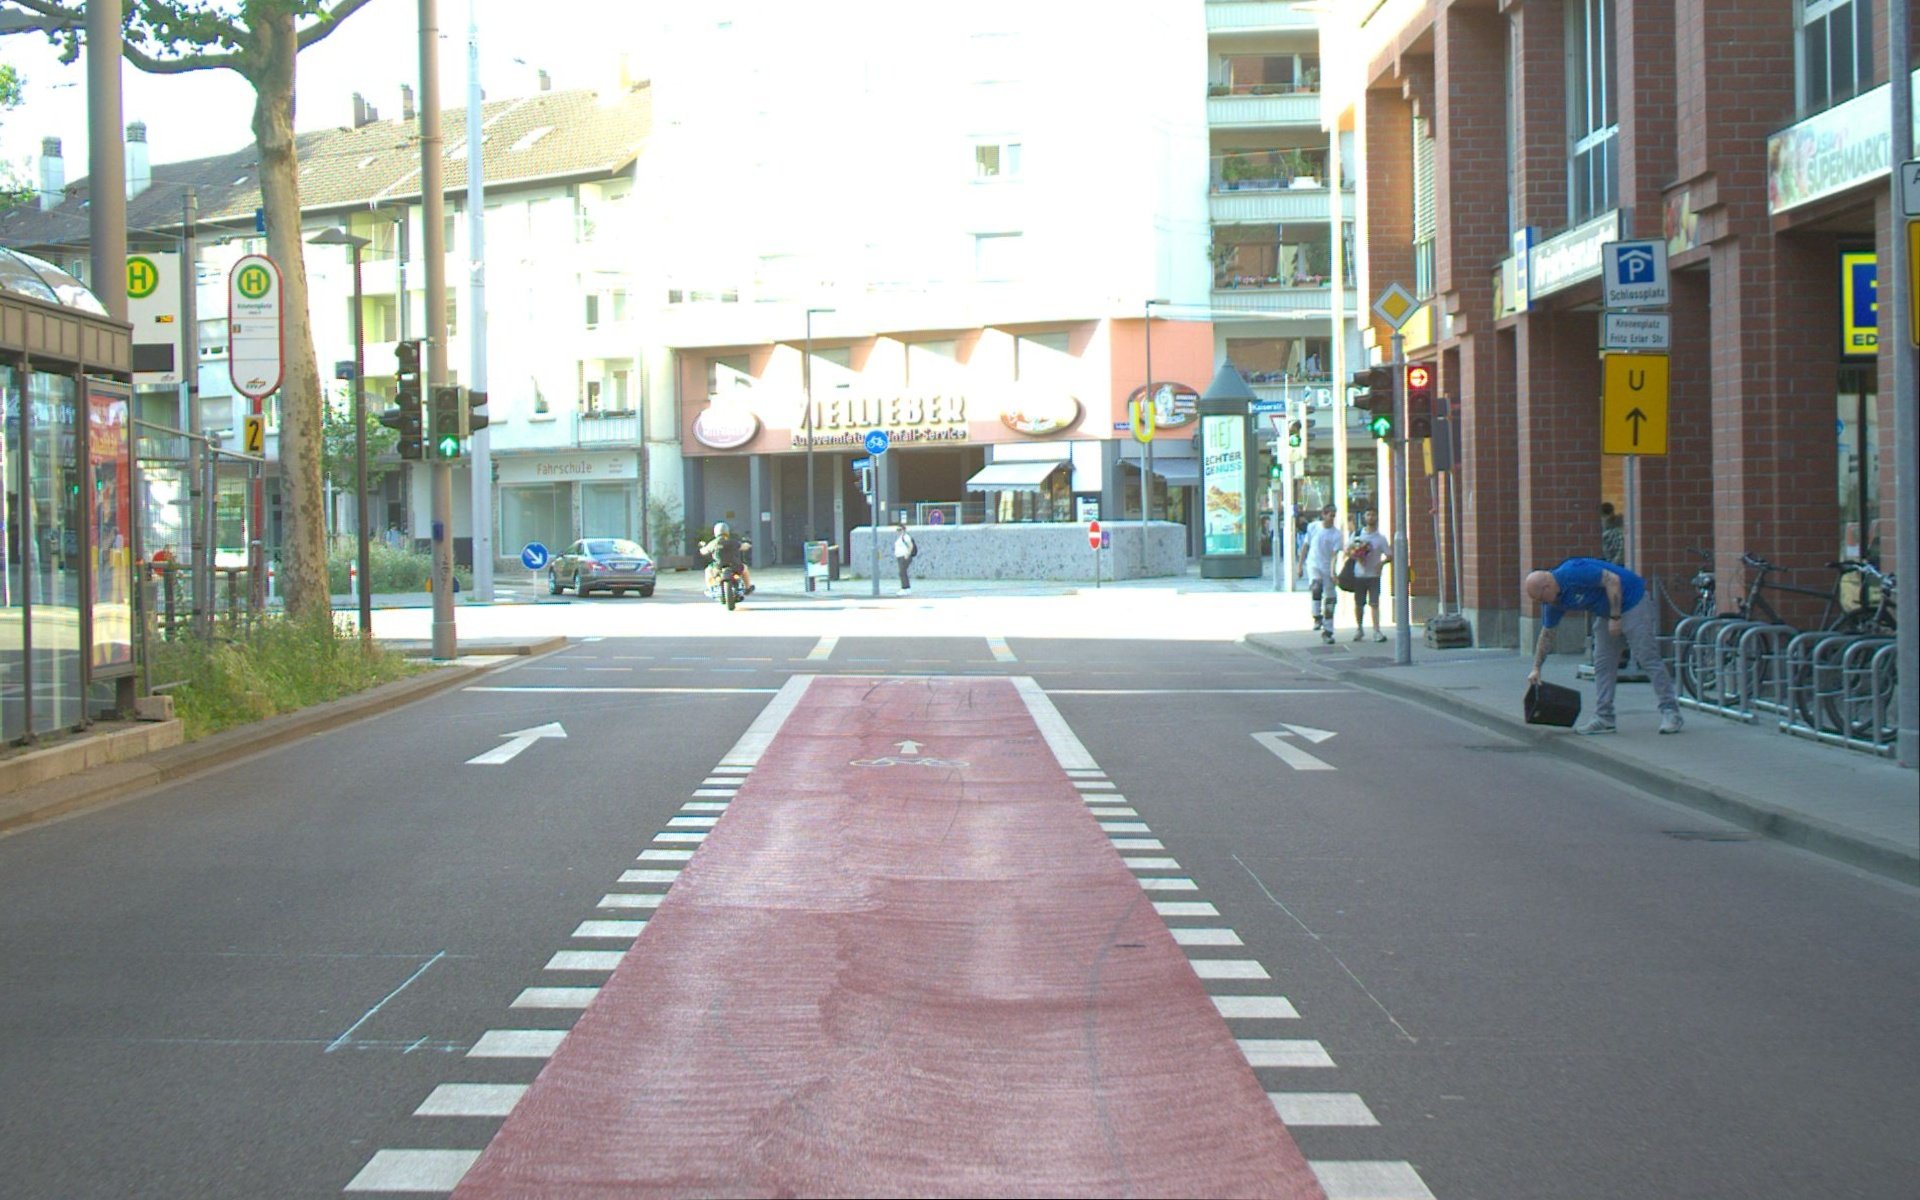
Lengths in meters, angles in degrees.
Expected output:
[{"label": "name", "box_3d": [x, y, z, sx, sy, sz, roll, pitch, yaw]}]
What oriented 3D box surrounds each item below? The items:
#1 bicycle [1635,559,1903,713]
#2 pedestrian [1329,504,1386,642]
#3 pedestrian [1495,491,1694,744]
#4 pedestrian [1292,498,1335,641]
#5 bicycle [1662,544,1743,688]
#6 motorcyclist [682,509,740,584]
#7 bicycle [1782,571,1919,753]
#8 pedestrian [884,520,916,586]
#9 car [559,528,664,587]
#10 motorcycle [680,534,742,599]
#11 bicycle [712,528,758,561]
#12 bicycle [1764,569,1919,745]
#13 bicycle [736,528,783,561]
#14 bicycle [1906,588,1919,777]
[{"label": "bicycle", "box_3d": [6.081, 0.265, 25.874, 1.891, 1.115, 0.475, -1, 1, 0]}, {"label": "pedestrian", "box_3d": [4.967, -0.343, 43.003, 0.633, 1.719, 0.630, 0, 1, -1]}, {"label": "pedestrian", "box_3d": [4.442, 0.111, 24.127, 1.194, 1.690, 0.885, -2, 1, 3]}, {"label": "pedestrian", "box_3d": [4.438, -0.386, 43.173, 0.476, 1.786, 0.541, 0, 1, -1]}, {"label": "bicycle", "box_3d": [6.330, 0.123, 29.346, 0.339, 1.179, 1.678, -1, 1, 1]}, {"label": "motorcyclist", "box_3d": [-4.500, -0.968, 62.078, 0.970, 1.342, 1.138, 1, 1, -1]}, {"label": "bicycle", "box_3d": [6.225, 0.377, 21.774, 1.891, 1.115, 0.550, -1, 1, 0]}, {"label": "pedestrian", "box_3d": [-1.439, -1.126, 82.467, 0.539, 1.578, 0.557, -1, 1, -43]}, {"label": "car", "box_3d": [-8.531, -1.057, 83.928, 1.923, 1.384, 4.001, -1, 1, -15]}, {"label": "motorcycle", "box_3d": [-4.491, -0.619, 62.125, 0.973, 1.128, 2.805, 1, 1, -1]}, {"label": "bicycle", "box_3d": [-7.107, -1.750, 108.447, 1.637, 1.035, 0.495, 1, 2, 45]}, {"label": "bicycle", "box_3d": [6.262, 0.361, 22.474, 1.891, 1.115, 0.475, -1, 1, 0]}, {"label": "bicycle", "box_3d": [-6.350, -1.754, 108.785, 1.637, 1.035, 0.495, 1, 2, 45]}, {"label": "bicycle", "box_3d": [6.305, 0.426, 19.047, 1.933, 1.053, 0.572, -2, 1, 3]}]
